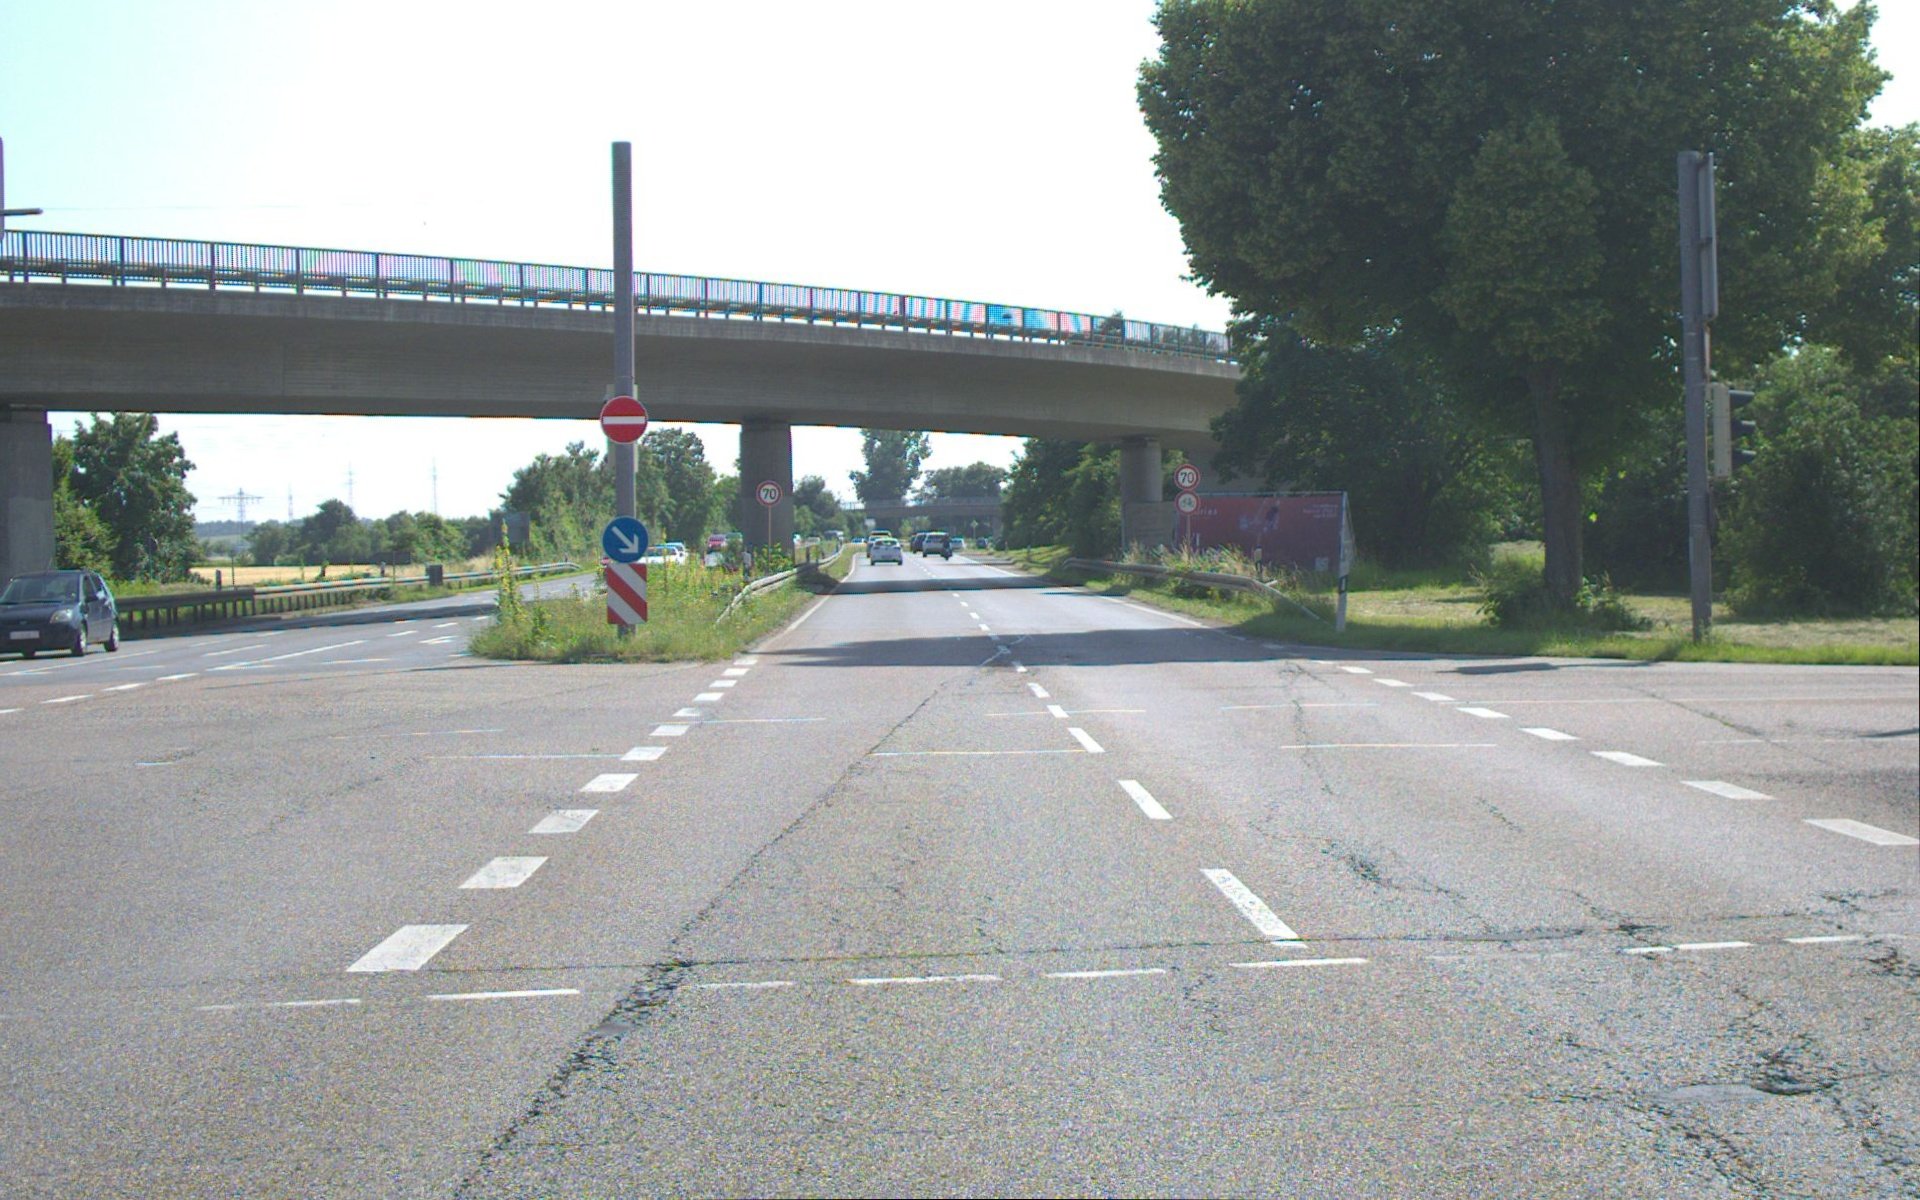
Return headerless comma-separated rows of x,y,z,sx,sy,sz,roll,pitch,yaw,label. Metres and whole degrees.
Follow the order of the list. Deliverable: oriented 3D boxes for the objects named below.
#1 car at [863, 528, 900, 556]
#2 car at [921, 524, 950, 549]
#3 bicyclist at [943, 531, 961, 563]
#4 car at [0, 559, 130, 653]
-4.223,-3.138,185.141,1.851,1.456,4.000,0,1,1,car
-1.680,-4.287,232.883,1.873,1.634,4.000,-1,1,1,car
-0.493,-3.238,209.199,1.007,1.880,1.327,-2,1,-1,bicyclist
-15.278,0.091,57.922,1.614,1.437,3.776,-4,1,-1,car
